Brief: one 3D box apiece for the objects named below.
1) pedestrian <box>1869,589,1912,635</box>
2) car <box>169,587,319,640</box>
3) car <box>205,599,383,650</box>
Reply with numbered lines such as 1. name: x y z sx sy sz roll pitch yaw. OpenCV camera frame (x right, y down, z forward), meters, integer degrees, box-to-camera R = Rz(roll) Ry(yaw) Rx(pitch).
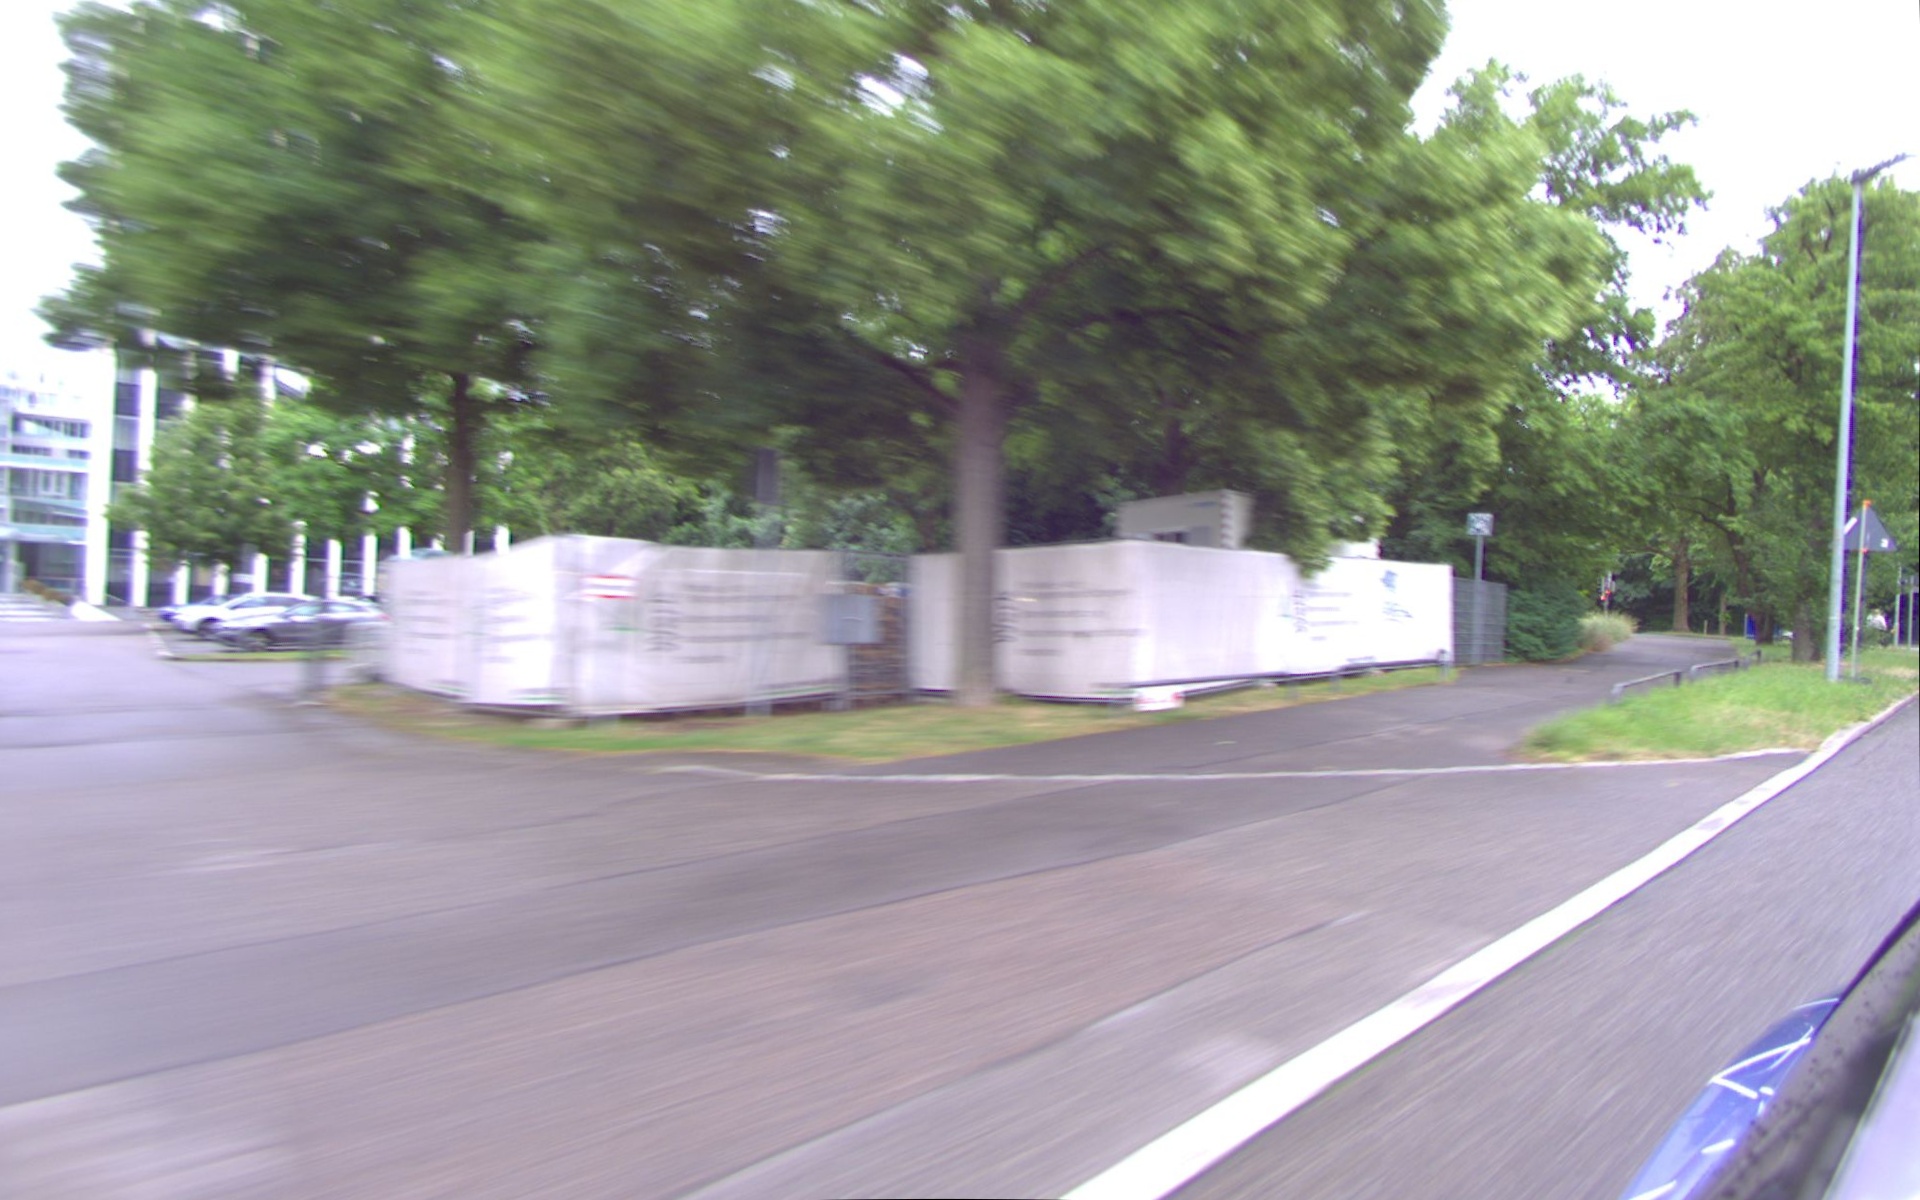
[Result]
1. pedestrian: 36.594 0.460 39.801 0.731 1.743 1.022 0 0 2
2. car: -23.718 0.409 33.597 3.930 1.638 1.773 -1 1 -41
3. car: -18.826 0.641 28.703 4.051 1.308 1.628 -1 1 -41
